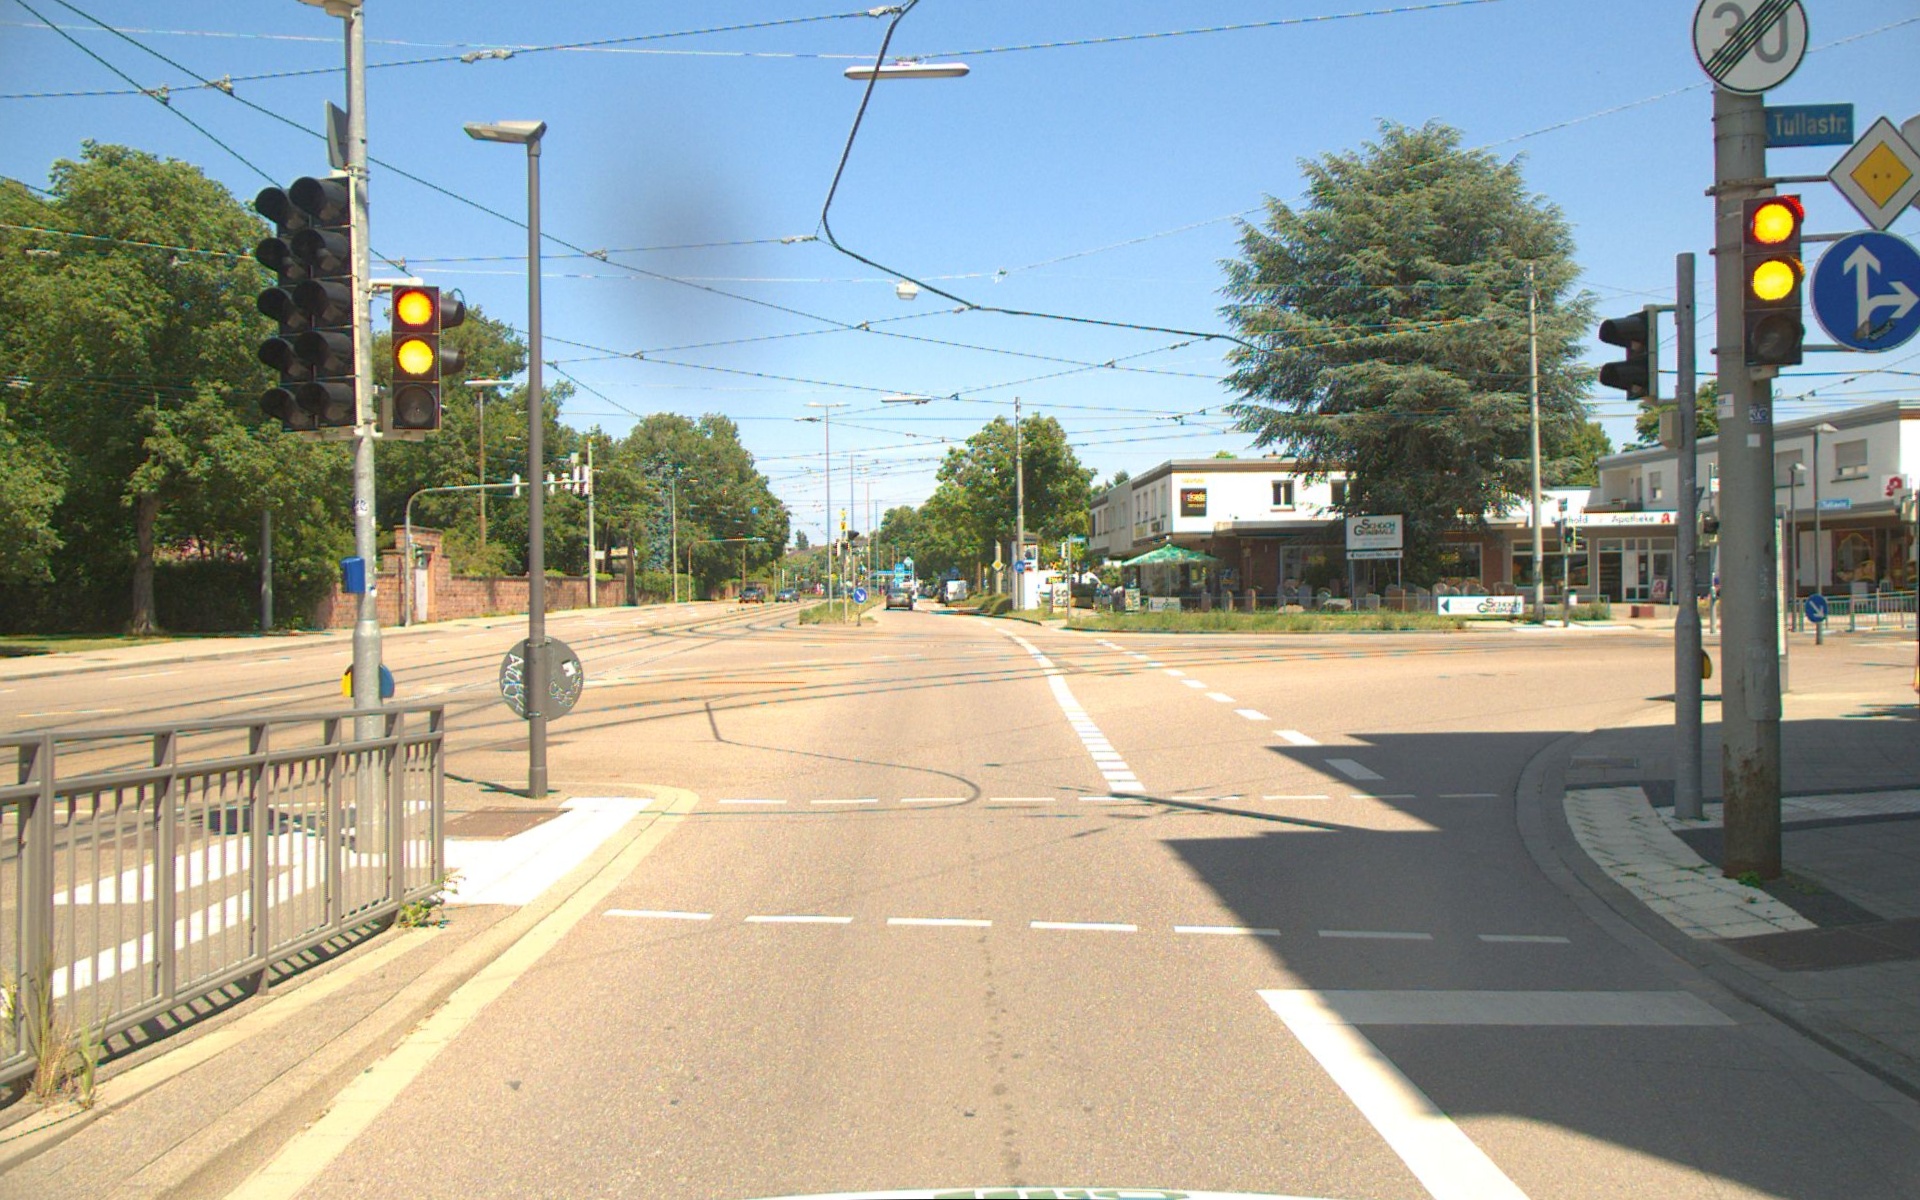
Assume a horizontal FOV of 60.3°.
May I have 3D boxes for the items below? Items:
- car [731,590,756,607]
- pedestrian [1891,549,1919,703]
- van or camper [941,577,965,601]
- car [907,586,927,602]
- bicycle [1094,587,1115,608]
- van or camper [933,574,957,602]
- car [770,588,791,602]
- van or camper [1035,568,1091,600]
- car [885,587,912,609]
[{"bbox_3d":[-20.466,-0.141,156.504,1.783,1.631,4.519,-1,0,-1],"label":"car"},{"bbox_3d":[10.491,0.248,17.426,0.809,1.611,0.827,-4,0,5],"label":"pedestrian"},{"bbox_3d":[-0.573,-0.863,130.241,1.883,1.803,3.999,-1,0,-1],"label":"van or camper"},{"bbox_3d":[-3.949,-0.580,152.755,1.636,1.460,3.475,-1,0,1],"label":"car"},{"bbox_3d":[7.387,-0.147,84.608,1.012,1.032,2.639,-1,0,5],"label":"bicycle"},{"bbox_3d":[-1.392,-1.114,152.824,1.954,2.507,3.997,-1,0,-4],"label":"van or camper"},{"bbox_3d":[-18.161,-0.501,167.489,1.607,1.445,4.168,-1,0,1],"label":"car"},{"bbox_3d":[8.930,-1.387,143.539,4.662,2.717,2.134,-1,0,-3],"label":"van or camper"},{"bbox_3d":[-4.033,-0.148,107.897,1.604,1.375,3.838,-1,0,-4],"label":"car"}]
